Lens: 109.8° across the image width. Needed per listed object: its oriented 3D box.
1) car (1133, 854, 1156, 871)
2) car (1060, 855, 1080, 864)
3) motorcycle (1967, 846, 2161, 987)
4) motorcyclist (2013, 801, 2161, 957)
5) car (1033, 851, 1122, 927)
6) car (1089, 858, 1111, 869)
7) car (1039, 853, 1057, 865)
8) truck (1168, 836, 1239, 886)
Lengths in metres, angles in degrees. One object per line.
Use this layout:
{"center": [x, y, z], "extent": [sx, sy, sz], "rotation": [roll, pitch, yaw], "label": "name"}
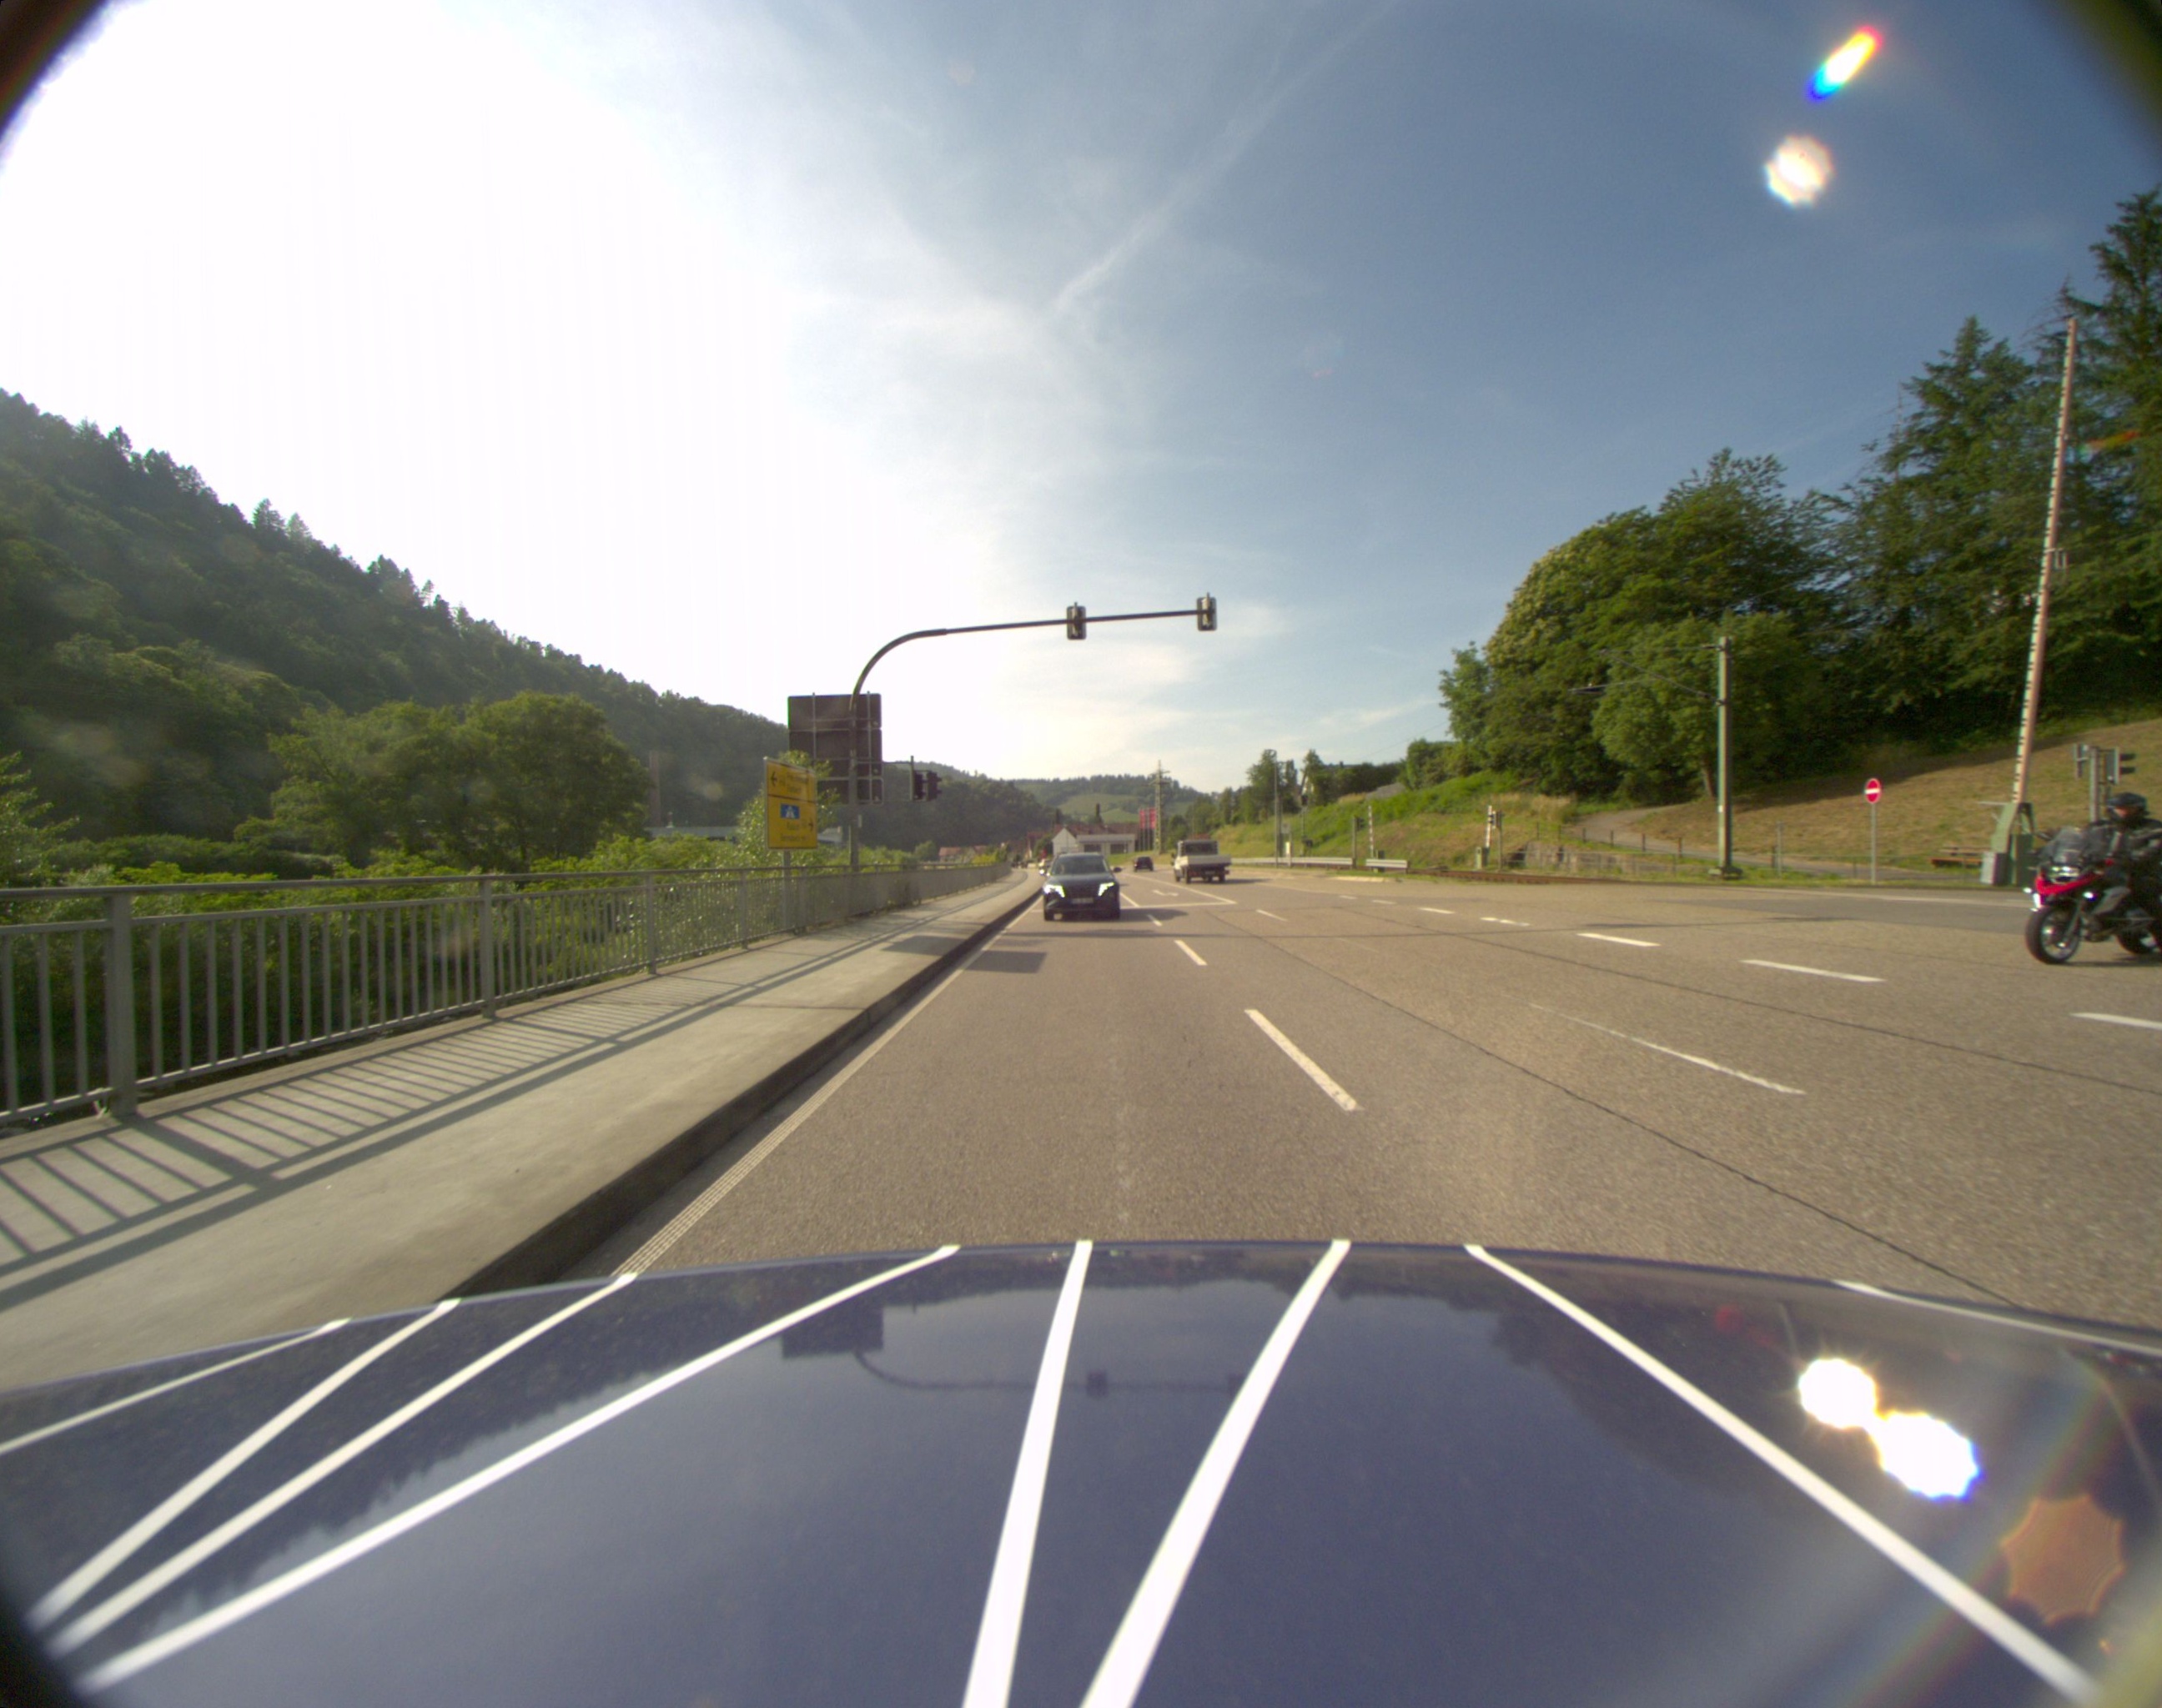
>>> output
{"center": [5.800, 0.768, 69.738], "extent": [1.691, 1.477, 3.999], "rotation": [-3, 0, -1], "label": "car"}
{"center": [-1.837, 0.899, 125.191], "extent": [2.001, 1.434, 3.994], "rotation": [-4, 1, -18], "label": "car"}
{"center": [11.101, 0.599, 8.168], "extent": [2.594, 1.261, 1.004], "rotation": [-3, 1, -15], "label": "motorcycle"}
{"center": [11.159, 0.223, 8.180], "extent": [1.186, 1.535, 0.990], "rotation": [-4, 1, -14], "label": "motorcyclist"}
{"center": [-0.051, 0.804, 20.368], "extent": [1.998, 1.661, 5.510], "rotation": [-2, 0, 0], "label": "car"}
{"center": [2.729, 1.345, 111.058], "extent": [2.001, 1.521, 3.994], "rotation": [-4, 1, -17], "label": "car"}
{"center": [-5.891, 0.972, 136.692], "extent": [2.002, 2.002, 3.993], "rotation": [-4, 1, -21], "label": "car"}
{"center": [6.193, 0.323, 39.281], "extent": [2.453, 2.253, 6.279], "rotation": [-2, 0, -1], "label": "truck"}
